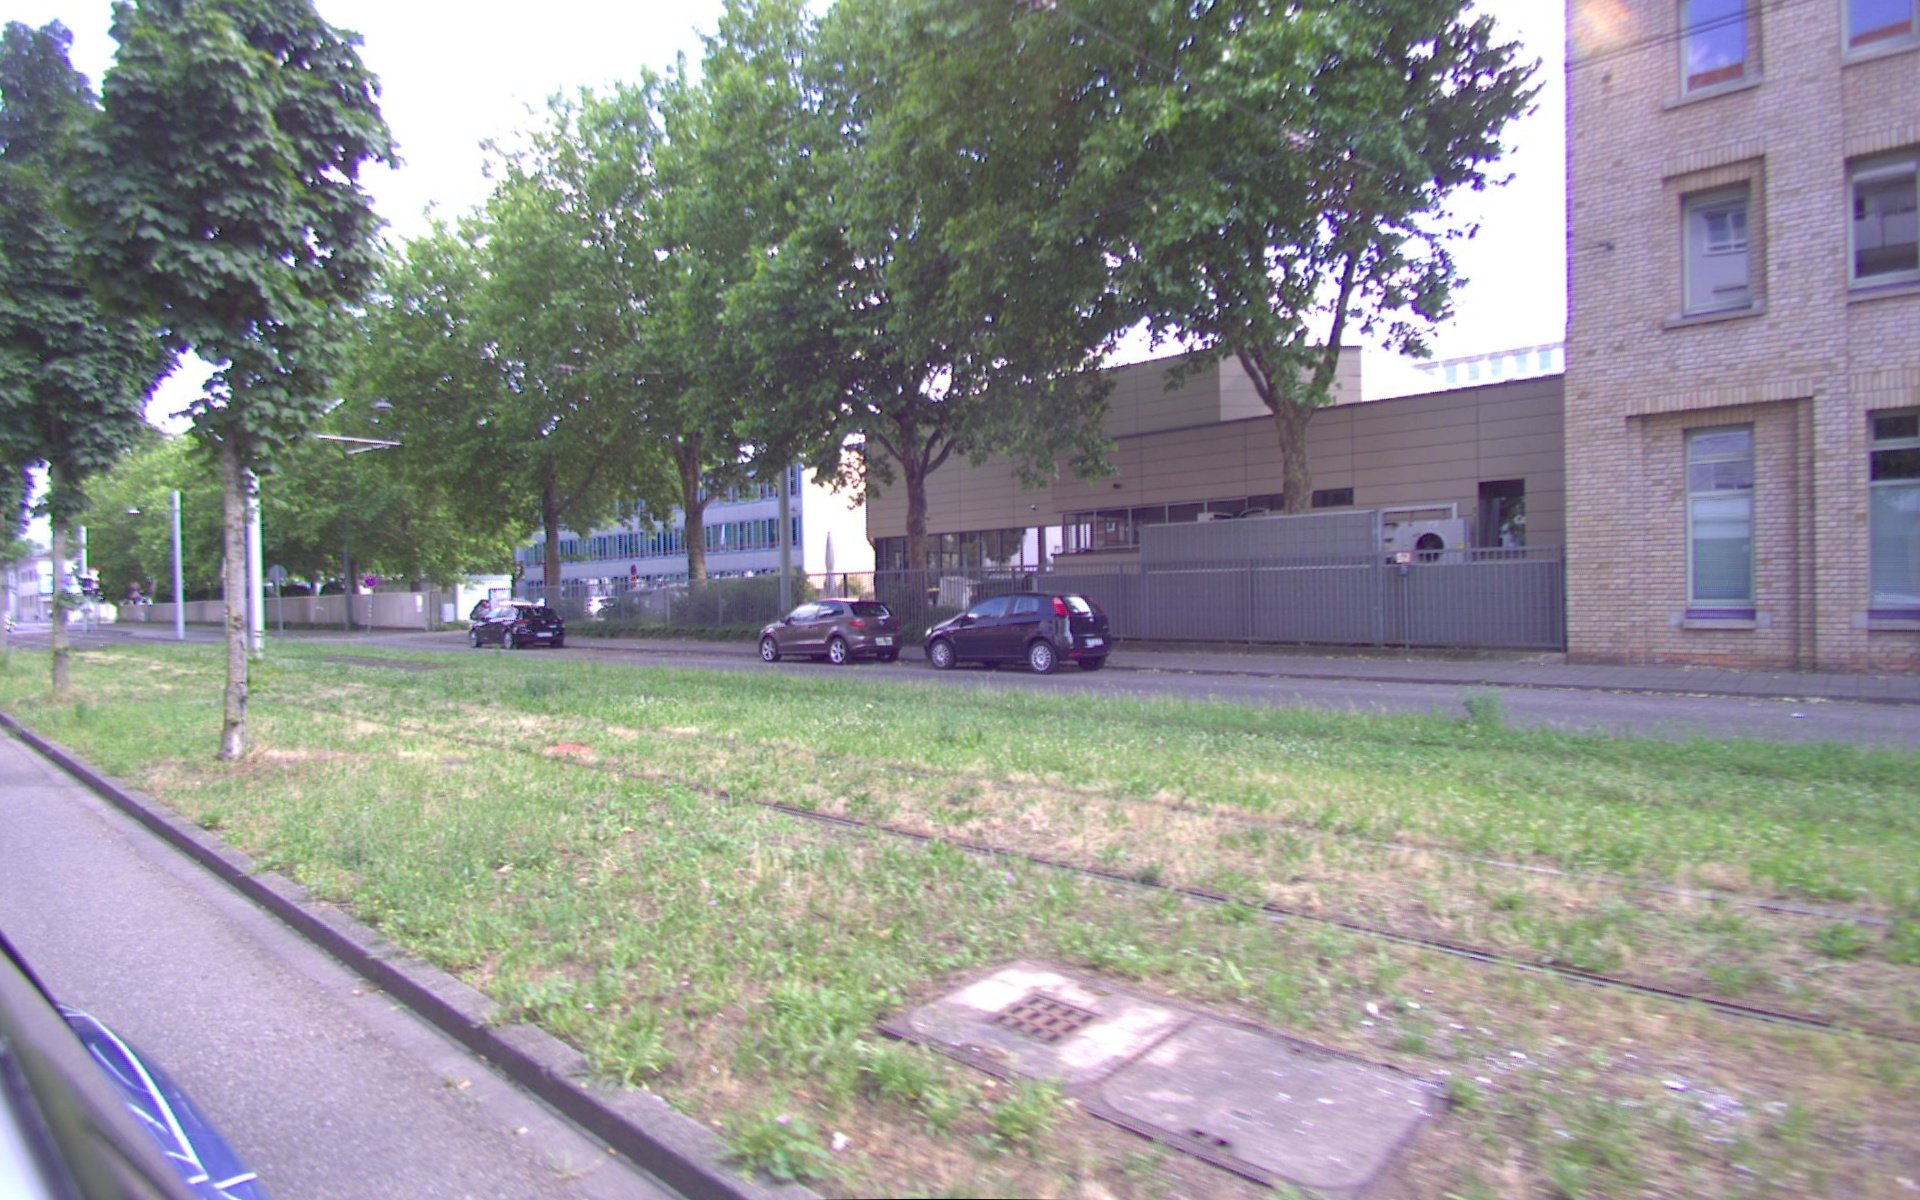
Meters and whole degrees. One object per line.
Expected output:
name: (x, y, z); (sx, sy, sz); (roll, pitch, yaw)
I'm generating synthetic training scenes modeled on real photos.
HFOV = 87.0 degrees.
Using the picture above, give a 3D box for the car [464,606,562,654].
car: (-14.930, 0.979, 33.702); (4.001, 1.475, 1.579); (-1, 0, 44)

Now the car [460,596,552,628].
car: (-23.935, 0.619, 53.436); (1.999, 1.630, 3.946); (-1, 0, 41)

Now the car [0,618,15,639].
car: (-72.290, 2.167, 74.882); (1.772, 1.541, 4.052); (-2, 1, -15)

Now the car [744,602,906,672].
car: (-3.151, 0.807, 23.148); (3.901, 1.436, 1.538); (-1, 0, 42)

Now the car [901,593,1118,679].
car: (0.867, 0.639, 19.420); (1.782, 1.464, 4.002); (-1, 0, -45)
